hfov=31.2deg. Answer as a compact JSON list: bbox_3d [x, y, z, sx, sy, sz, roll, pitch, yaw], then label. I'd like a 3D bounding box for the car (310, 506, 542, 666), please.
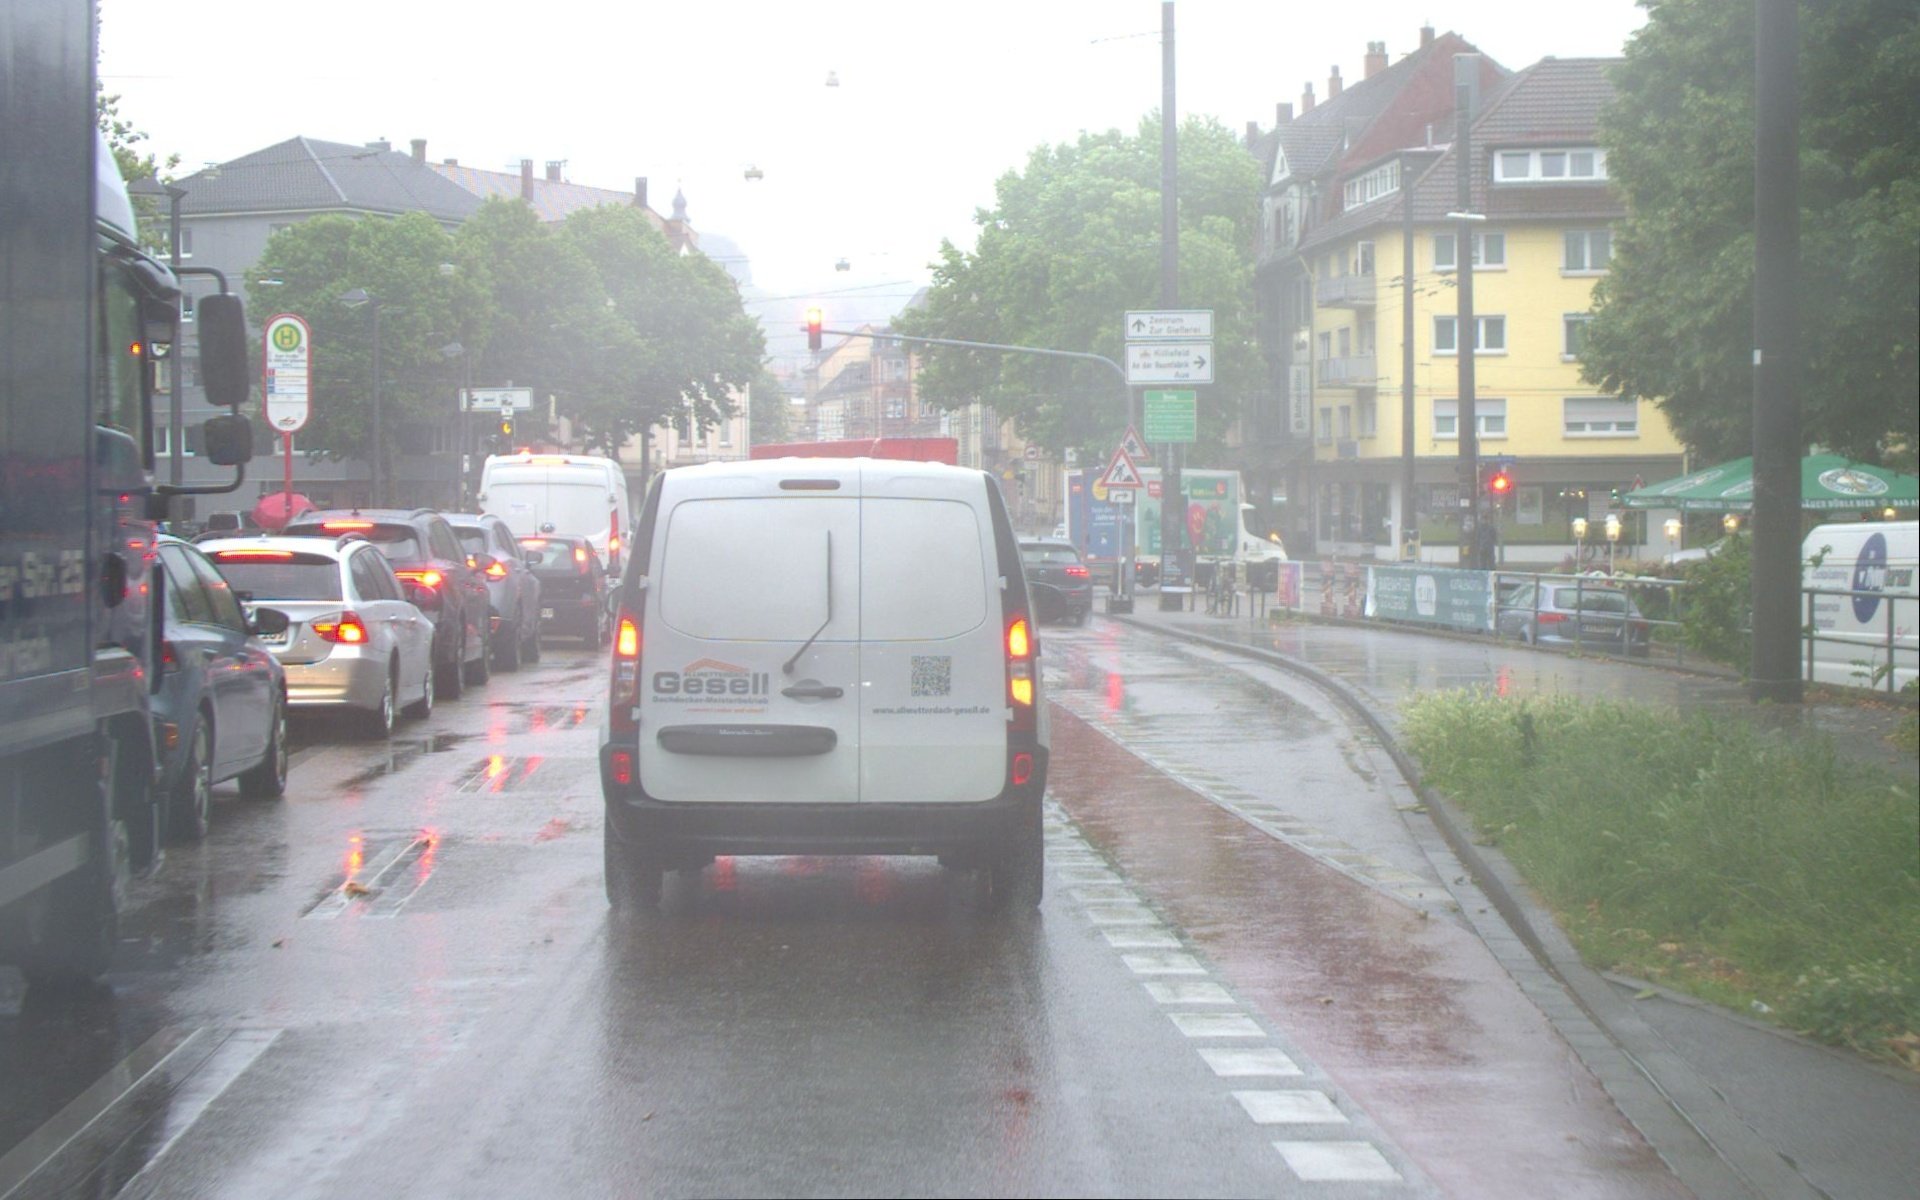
[{"bbox_3d":[-5.669,-0.172,36.986,1.993,1.573,4.292,1,1,-3],"label":"car"}]

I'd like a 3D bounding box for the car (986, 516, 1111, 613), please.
[{"bbox_3d":[1.462,-0.602,56.766,1.993,1.536,4.000,0,1,2],"label":"car"}]

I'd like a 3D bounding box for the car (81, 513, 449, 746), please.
[{"bbox_3d":[-4.978,0.146,25.199,1.993,1.467,4.267,1,2,-3],"label":"car"}]

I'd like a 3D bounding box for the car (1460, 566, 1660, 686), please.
[{"bbox_3d":[8.526,0.332,49.211,1.822,1.485,4.354,-2,2,-4],"label":"car"}]

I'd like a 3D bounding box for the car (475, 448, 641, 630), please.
[{"bbox_3d":[-5.702,-0.873,49.238,1.993,2.433,4.613,1,1,-3],"label":"car"}]

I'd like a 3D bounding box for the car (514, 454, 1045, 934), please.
[{"bbox_3d":[-0.749,0.343,14.555,1.959,1.771,3.570,0,0,-3],"label":"car"}]

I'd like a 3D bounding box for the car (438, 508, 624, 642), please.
[{"bbox_3d":[-5.394,-0.332,43.733,1.993,1.573,4.292,1,1,-3],"label":"car"}]

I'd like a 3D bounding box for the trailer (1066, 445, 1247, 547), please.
[{"bbox_3d":[4.721,-2.445,81.871,1.998,2.309,4.658,1,0,38],"label":"trailer"}]

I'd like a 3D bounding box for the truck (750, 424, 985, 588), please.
[{"bbox_3d":[-3.086,-2.998,109.178,3.277,4.882,11.404,-2,2,-24],"label":"truck"}]

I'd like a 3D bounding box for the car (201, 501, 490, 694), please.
[{"bbox_3d":[-5.445,-0.056,30.969,1.993,1.573,4.292,1,1,-3],"label":"car"}]

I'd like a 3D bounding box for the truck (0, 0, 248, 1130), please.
[{"bbox_3d":[-3.816,-0.645,10.700,2.580,3.890,4.001,0,1,-4],"label":"truck"}]

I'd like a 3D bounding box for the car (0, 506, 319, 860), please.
[{"bbox_3d":[-4.564,0.331,17.438,1.993,1.532,4.133,-2,2,-3],"label":"car"}]

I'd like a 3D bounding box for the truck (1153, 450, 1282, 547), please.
[{"bbox_3d":[6.285,-2.443,83.833,1.998,2.291,2.643,1,0,38],"label":"truck"}]

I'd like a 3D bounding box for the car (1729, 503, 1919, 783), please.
[{"bbox_3d":[9.784,0.328,34.840,2.179,2.523,5.779,-2,2,-5],"label":"car"}]

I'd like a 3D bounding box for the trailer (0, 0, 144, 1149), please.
[{"bbox_3d":[-3.544,-0.544,6.618,2.590,3.886,7.637,0,1,-4],"label":"trailer"}]

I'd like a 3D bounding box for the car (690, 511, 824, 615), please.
[{"bbox_3d":[-2.973,-0.551,50.890,1.760,1.464,3.533,1,1,0],"label":"car"}]
